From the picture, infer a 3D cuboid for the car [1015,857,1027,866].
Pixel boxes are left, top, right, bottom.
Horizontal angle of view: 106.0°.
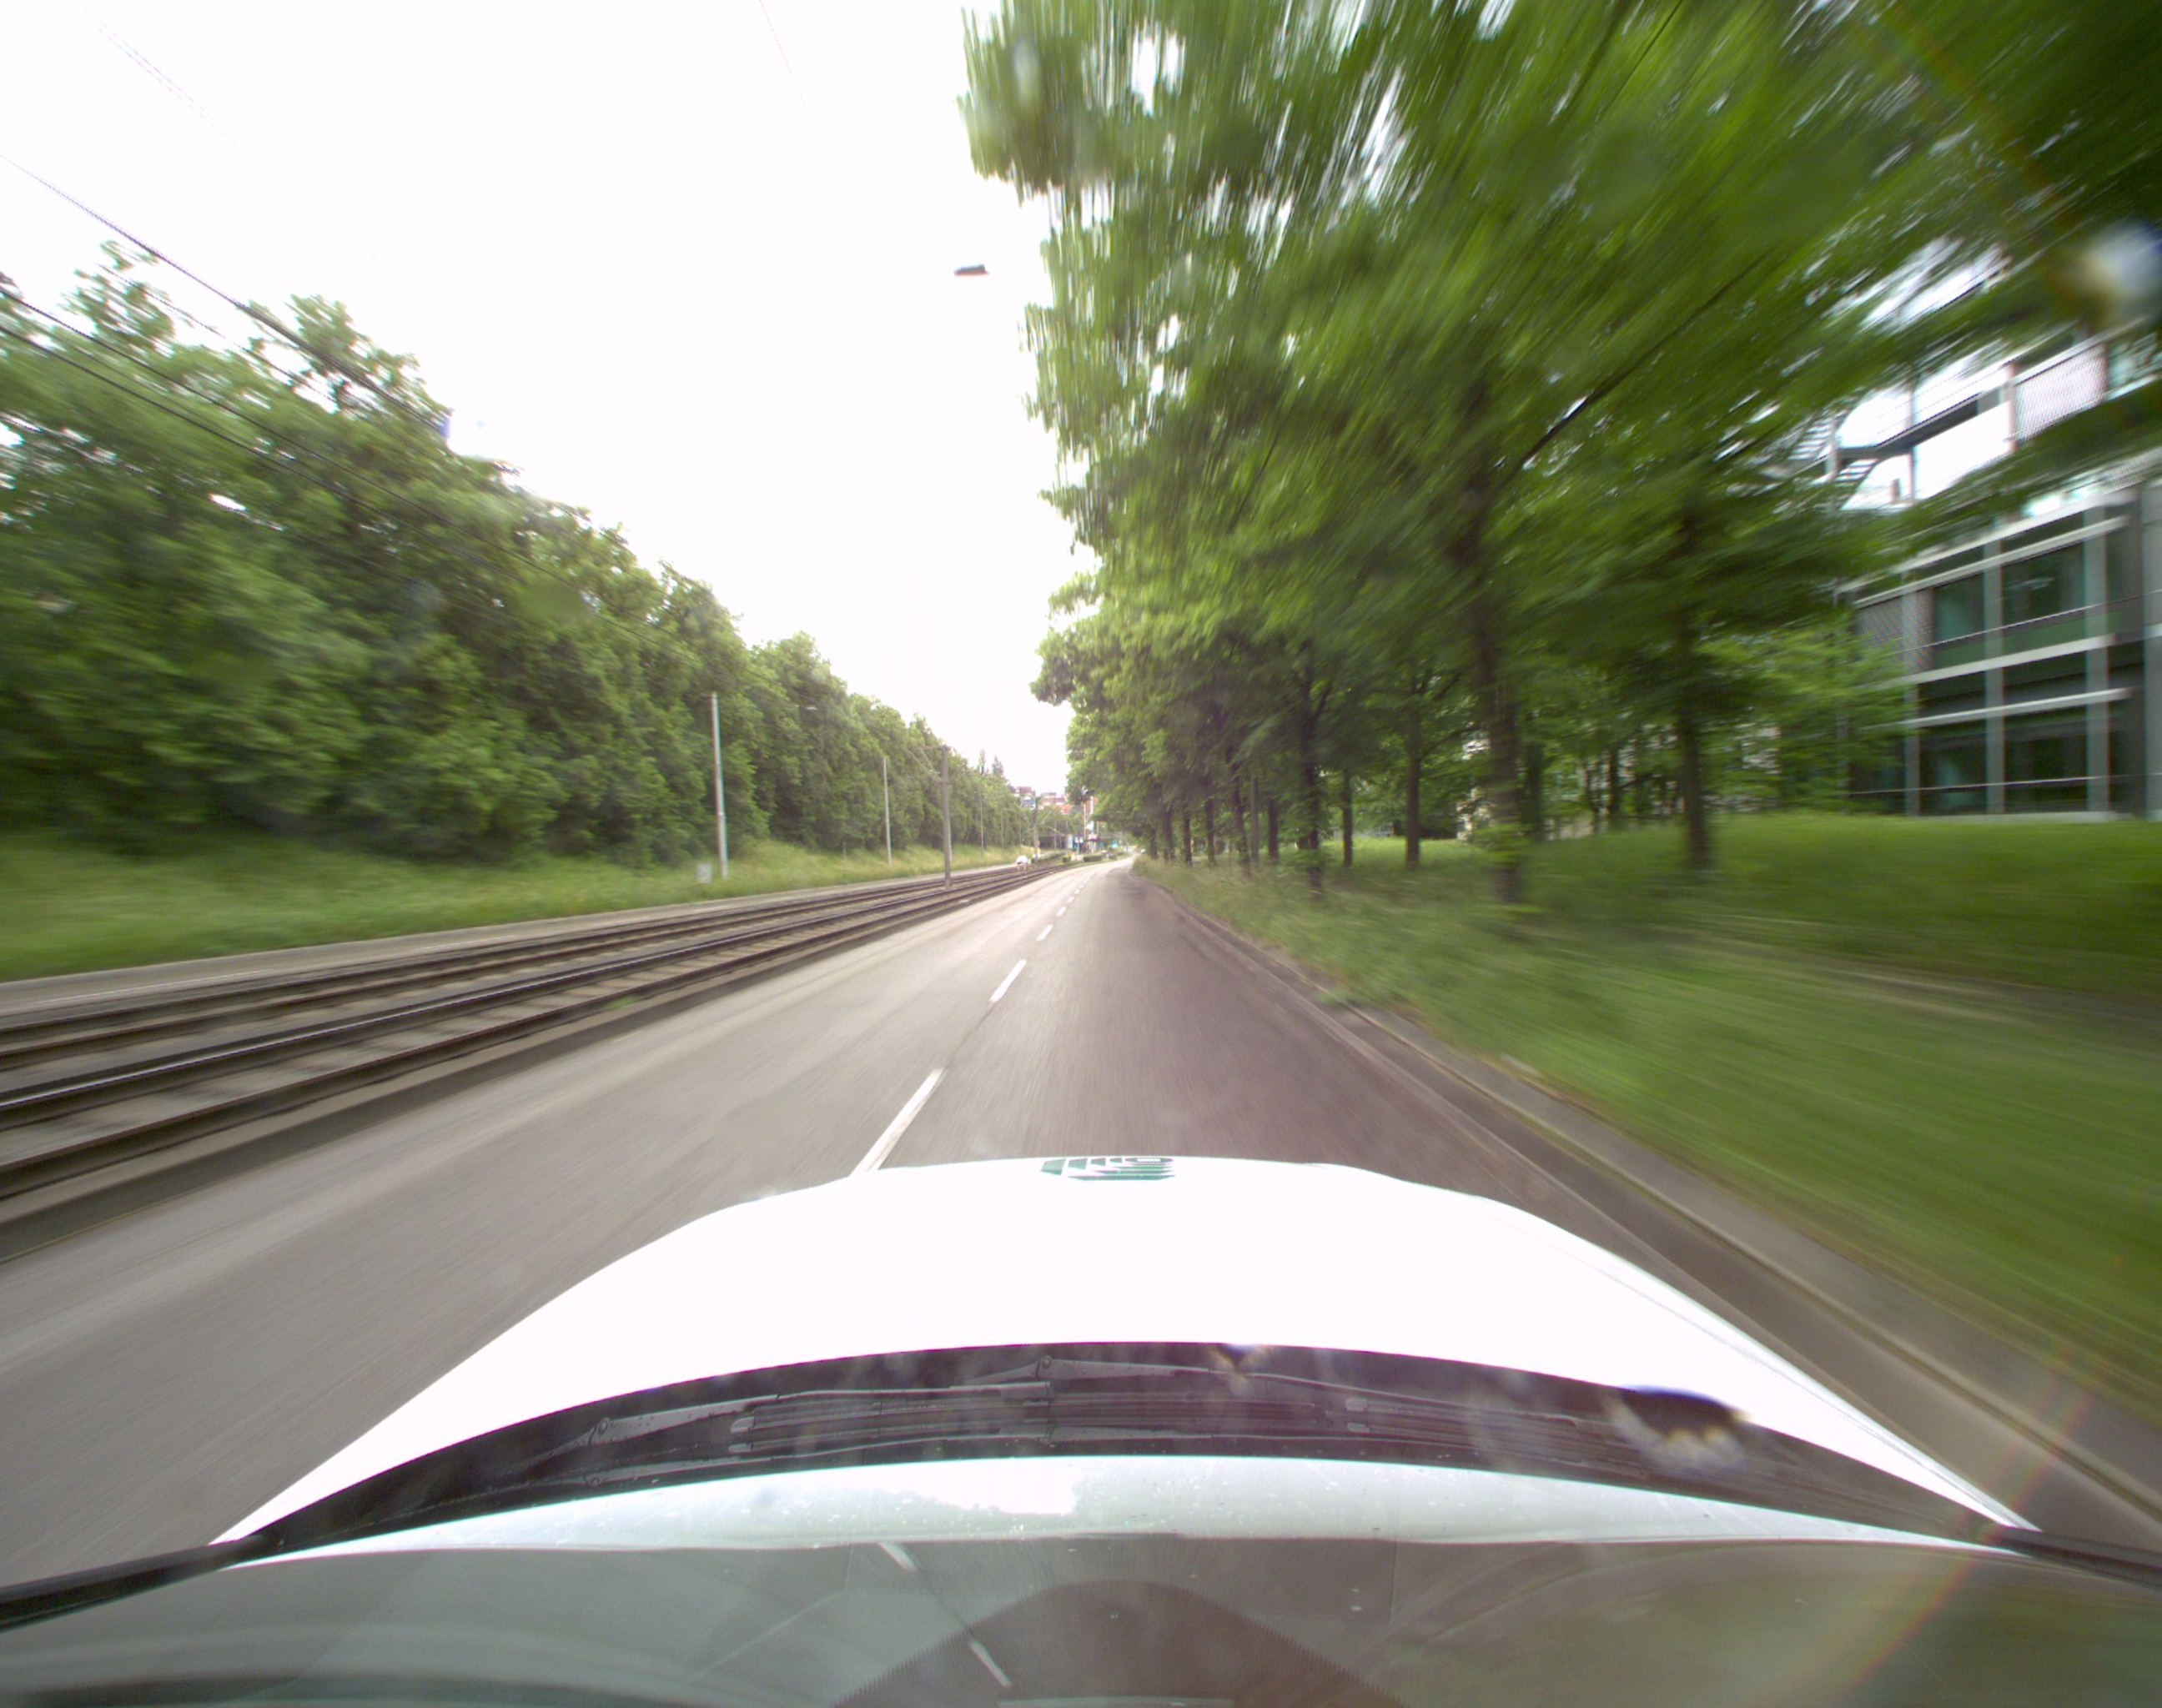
[{"bbox_3d":[-10.423,1.243,141.483,1.664,1.443,4.027,-4,0,1],"label":"car"}]
